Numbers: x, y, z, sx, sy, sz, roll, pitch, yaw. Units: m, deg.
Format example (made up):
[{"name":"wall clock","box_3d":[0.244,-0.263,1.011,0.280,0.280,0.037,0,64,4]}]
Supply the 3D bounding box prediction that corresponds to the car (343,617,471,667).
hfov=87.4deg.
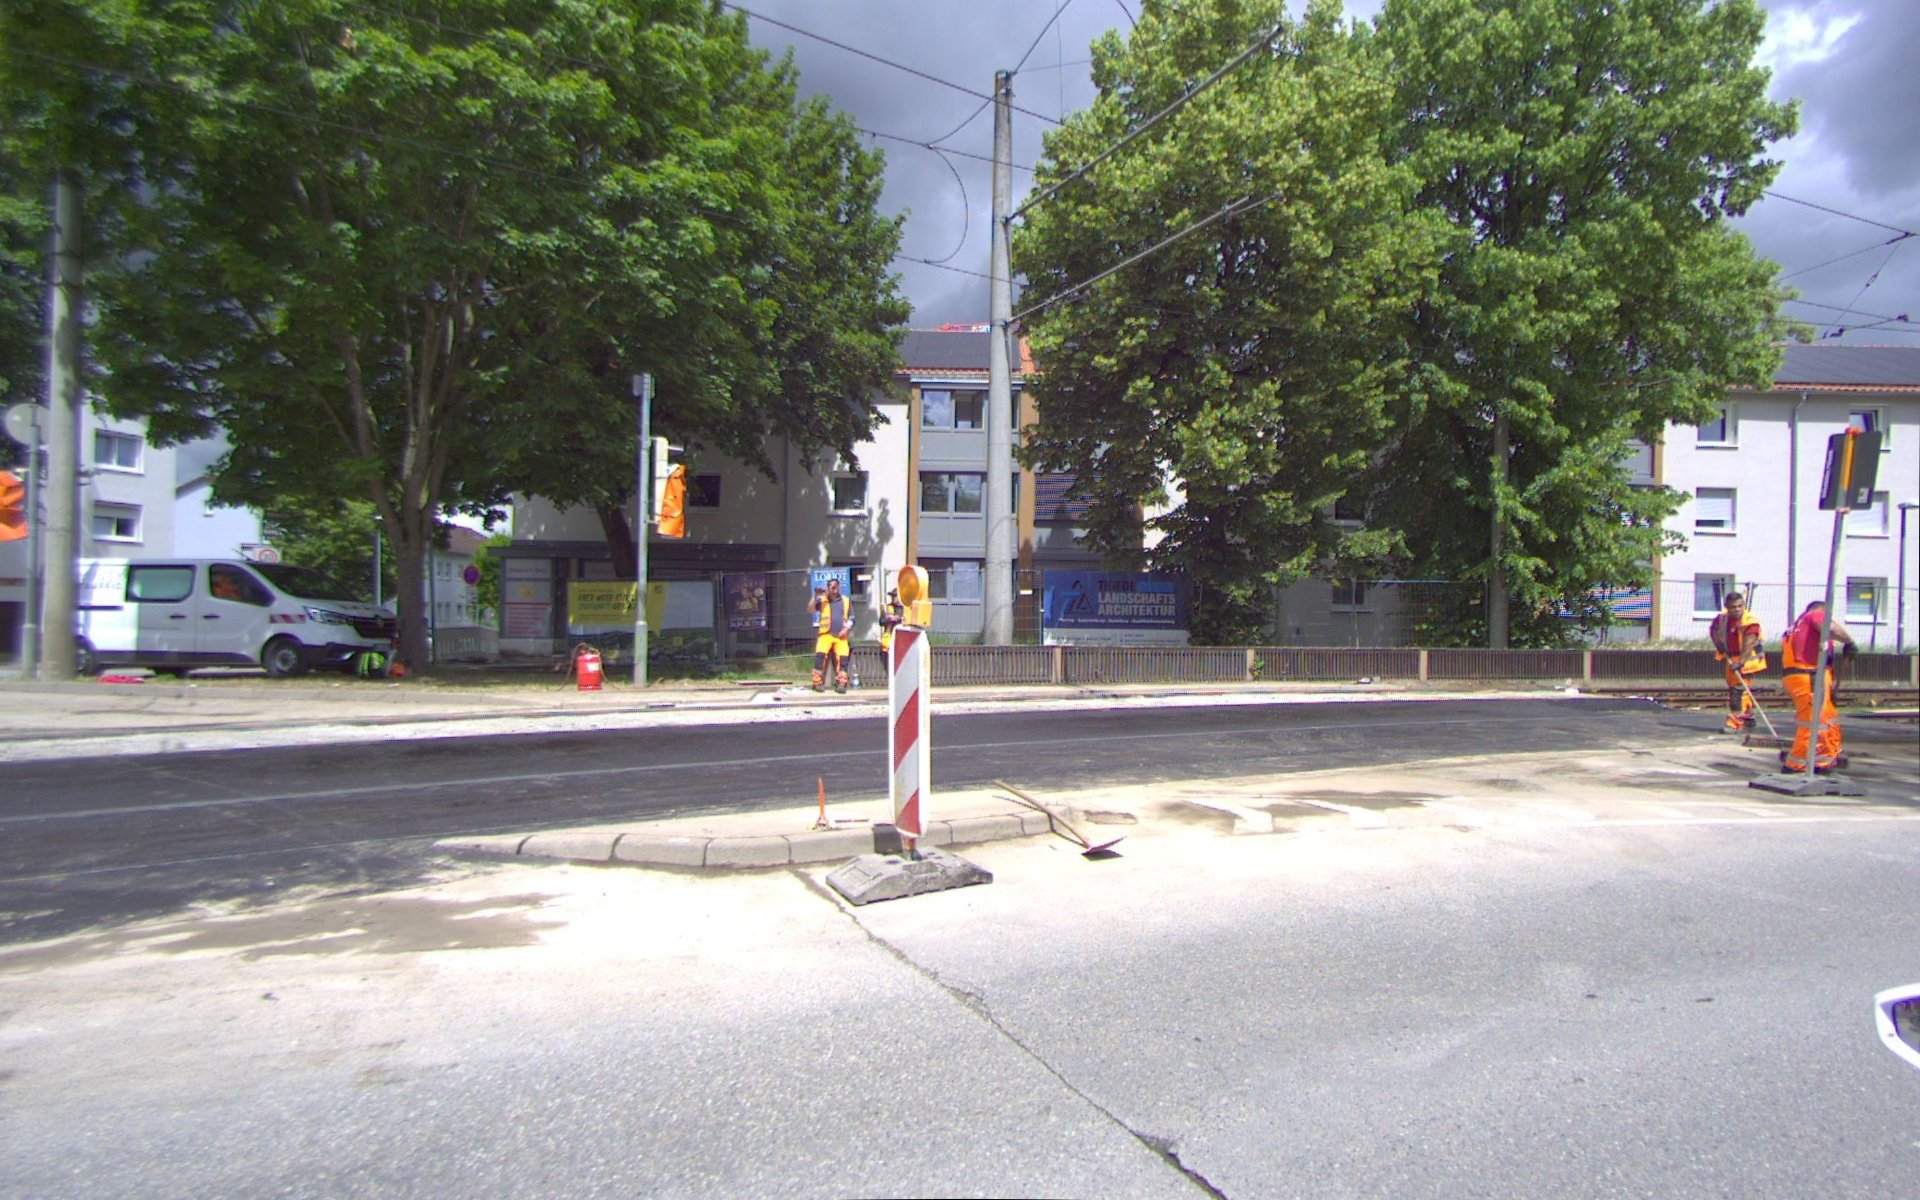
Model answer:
[{"name":"car","box_3d":[-17.364,1.290,31.762,1.742,1.478,3.878,0,-1,3]}]

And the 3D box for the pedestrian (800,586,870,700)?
[{"name":"pedestrian","box_3d":[-1.773,0.595,14.301,0.747,1.561,0.799,0,-1,13]}]

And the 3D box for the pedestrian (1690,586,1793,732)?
[{"name":"pedestrian","box_3d":[9.460,0.705,12.166,0.819,1.690,0.701,3,-1,-31]}]

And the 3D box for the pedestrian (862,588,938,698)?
[{"name":"pedestrian","box_3d":[-0.868,0.620,14.764,0.889,1.553,0.842,0,-1,13]}]

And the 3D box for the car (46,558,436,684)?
[{"name":"car","box_3d":[-11.747,0.335,16.619,5.144,1.912,2.001,0,-1,5]}]

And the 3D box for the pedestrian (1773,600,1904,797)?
[{"name":"pedestrian","box_3d":[7.560,0.797,8.690,0.752,1.572,0.897,1,1,37]}]
